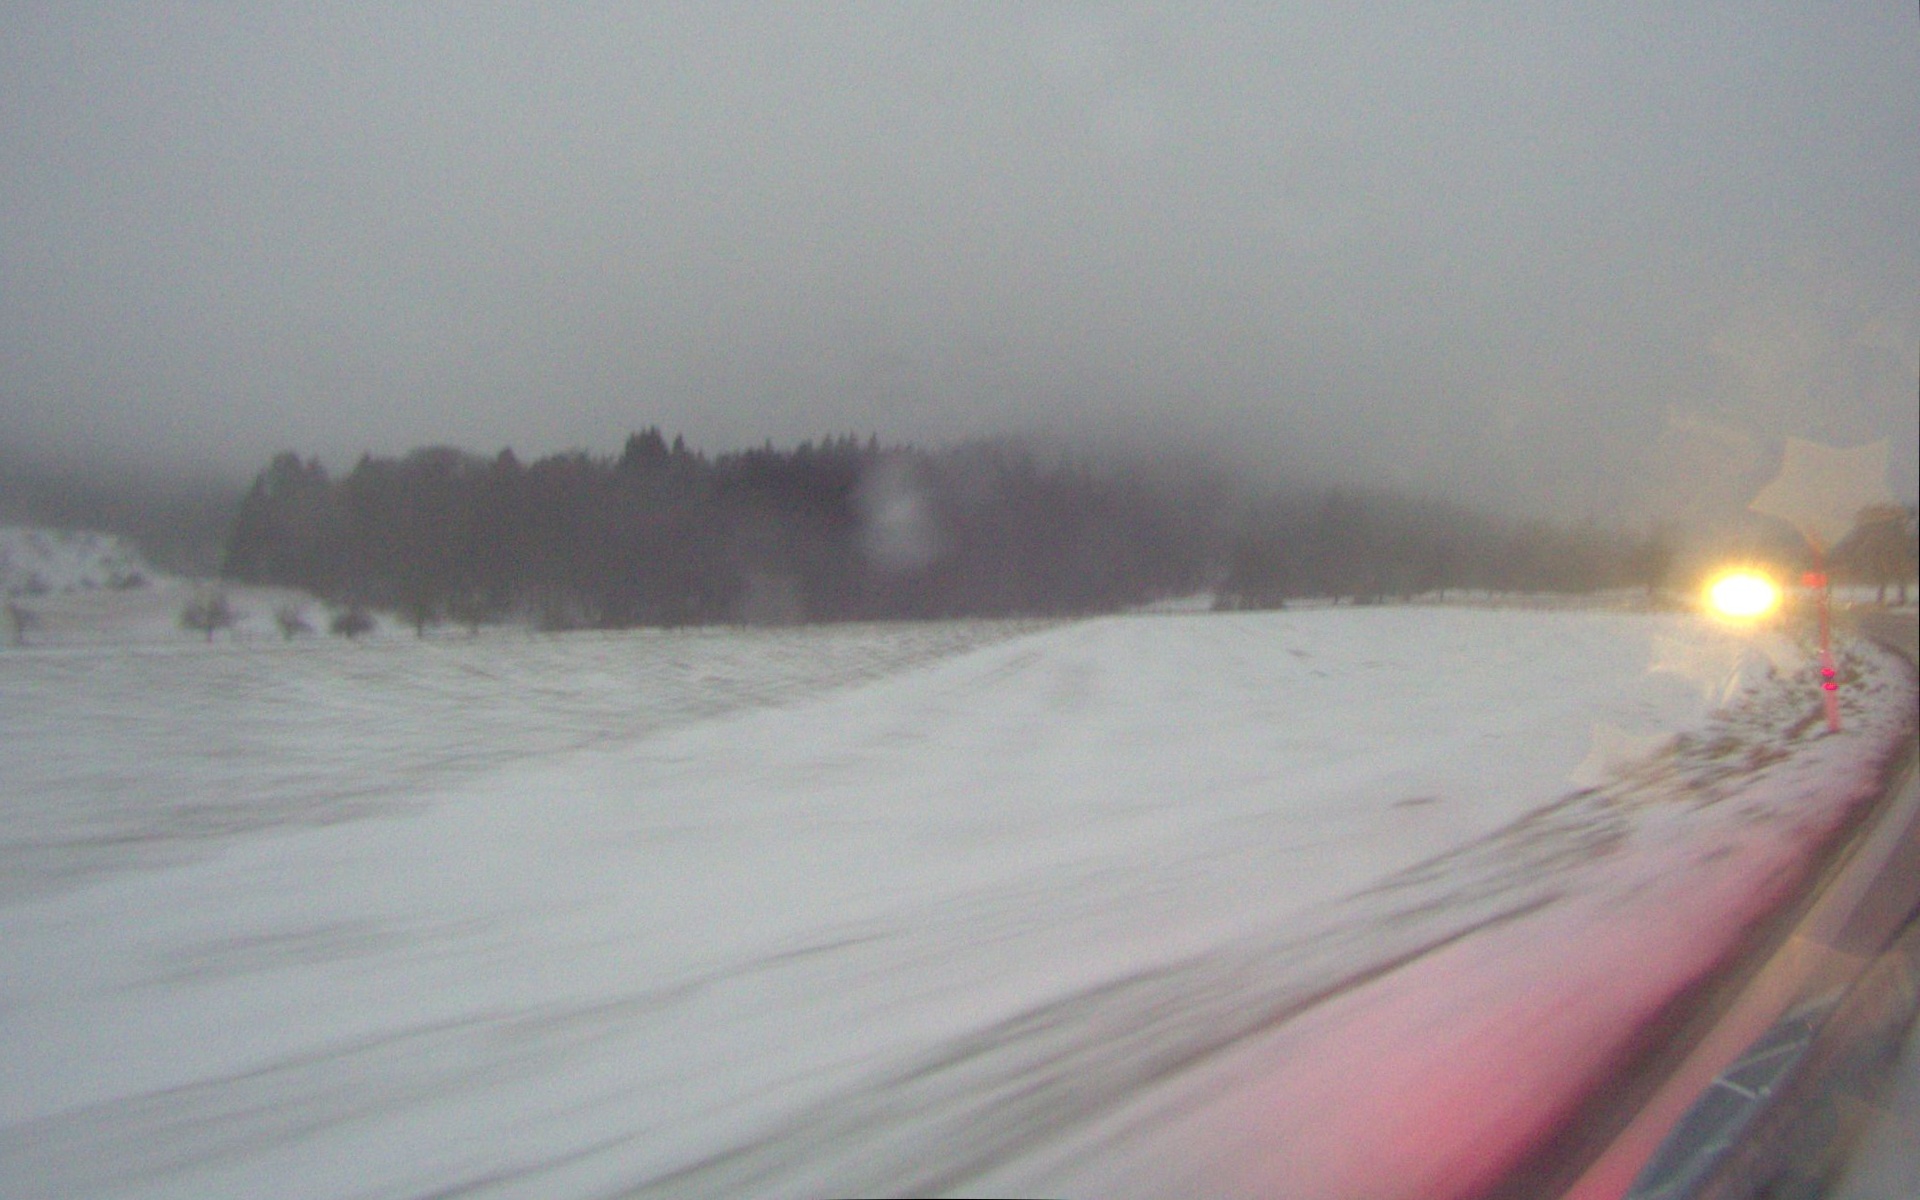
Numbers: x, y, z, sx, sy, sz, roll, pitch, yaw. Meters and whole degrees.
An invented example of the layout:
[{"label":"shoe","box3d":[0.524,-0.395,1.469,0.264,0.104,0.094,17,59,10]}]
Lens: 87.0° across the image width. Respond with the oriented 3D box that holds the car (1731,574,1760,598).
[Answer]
[{"label":"car","box3d":[72.803,-1.324,93.829,1.989,2.039,3.947,-2,0,38]}]
